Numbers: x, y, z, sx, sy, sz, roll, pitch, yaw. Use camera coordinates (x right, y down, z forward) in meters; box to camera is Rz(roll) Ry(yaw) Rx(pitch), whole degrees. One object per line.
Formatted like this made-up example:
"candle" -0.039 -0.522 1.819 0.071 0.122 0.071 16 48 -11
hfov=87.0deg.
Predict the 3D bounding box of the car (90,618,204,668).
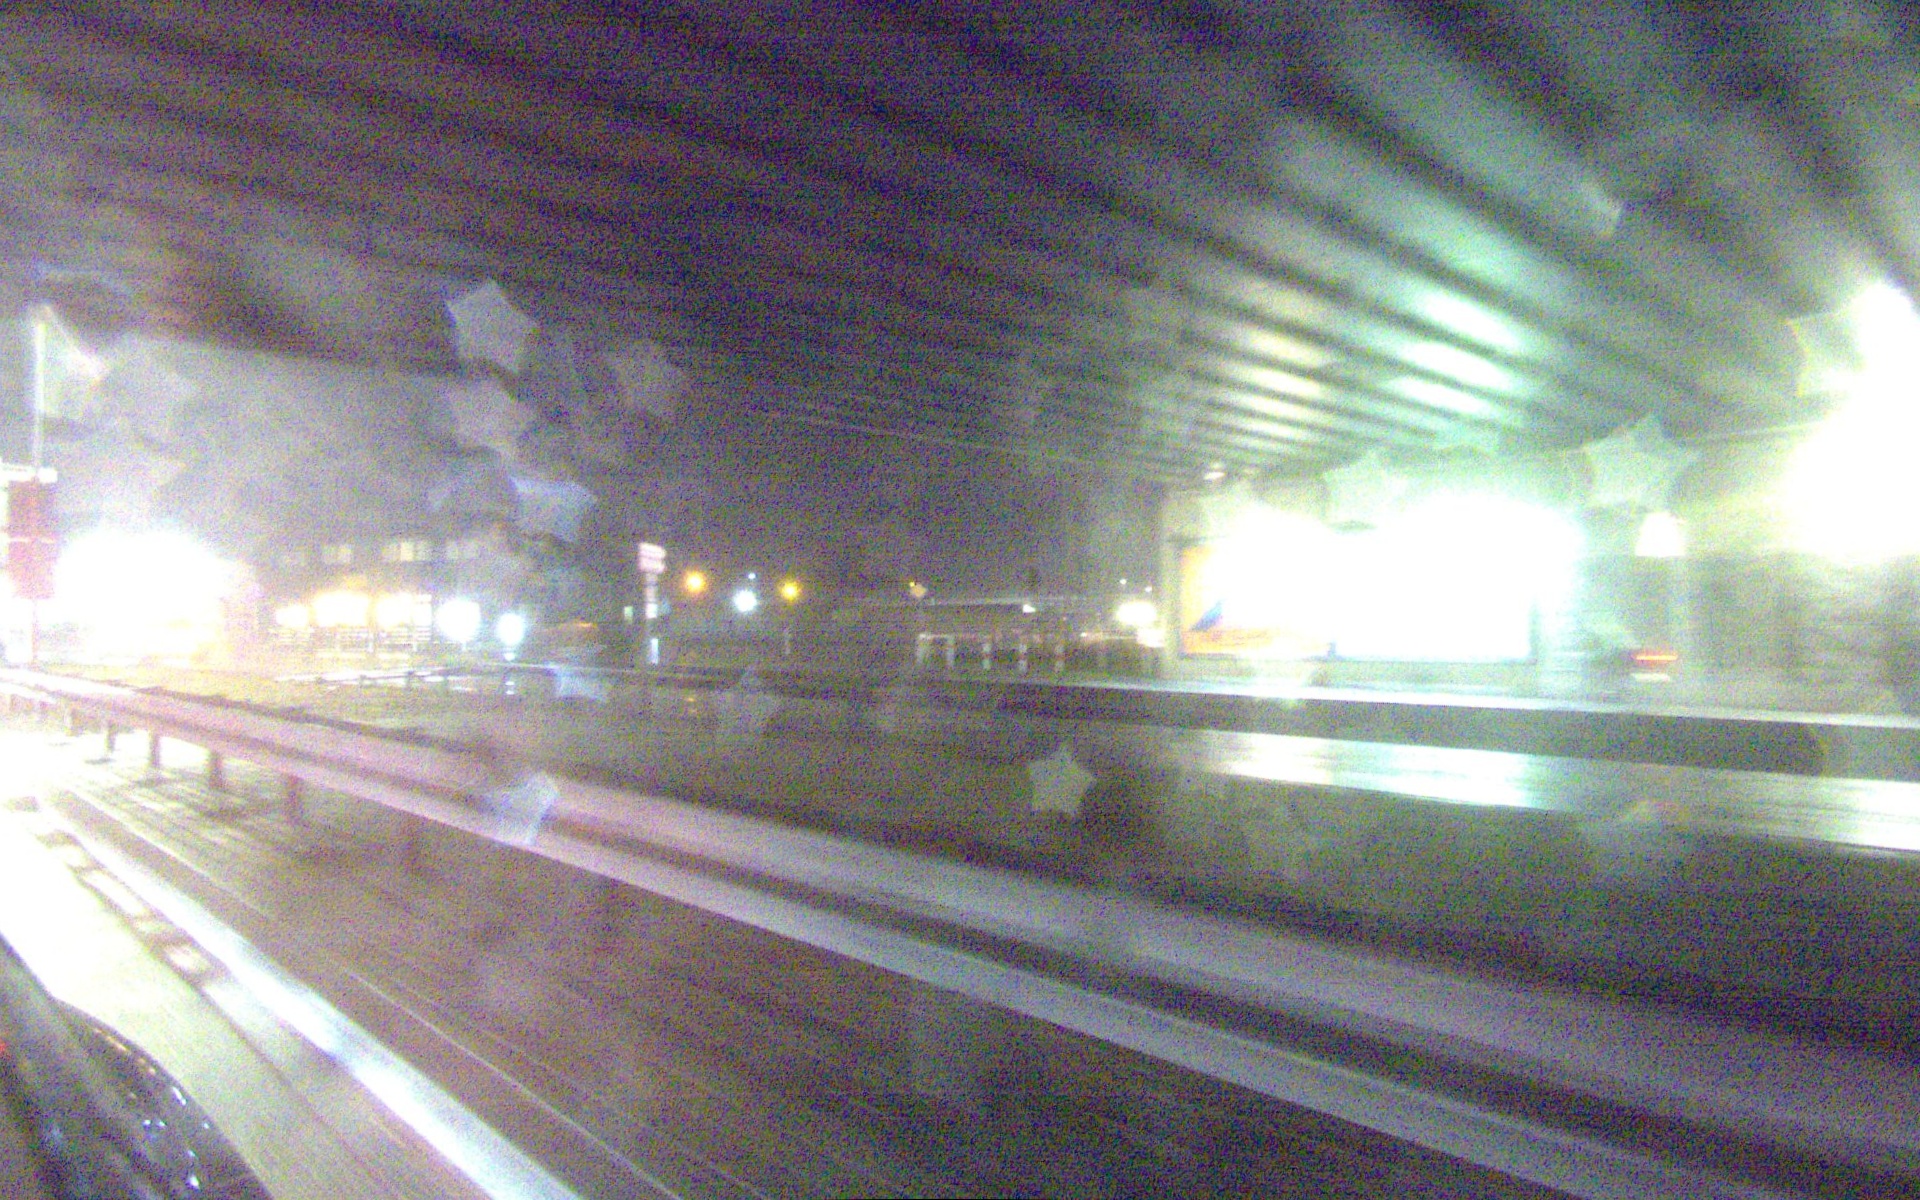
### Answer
"car" -26.969 1.403 33.539 4.295 1.548 1.585 -1 -1 31
